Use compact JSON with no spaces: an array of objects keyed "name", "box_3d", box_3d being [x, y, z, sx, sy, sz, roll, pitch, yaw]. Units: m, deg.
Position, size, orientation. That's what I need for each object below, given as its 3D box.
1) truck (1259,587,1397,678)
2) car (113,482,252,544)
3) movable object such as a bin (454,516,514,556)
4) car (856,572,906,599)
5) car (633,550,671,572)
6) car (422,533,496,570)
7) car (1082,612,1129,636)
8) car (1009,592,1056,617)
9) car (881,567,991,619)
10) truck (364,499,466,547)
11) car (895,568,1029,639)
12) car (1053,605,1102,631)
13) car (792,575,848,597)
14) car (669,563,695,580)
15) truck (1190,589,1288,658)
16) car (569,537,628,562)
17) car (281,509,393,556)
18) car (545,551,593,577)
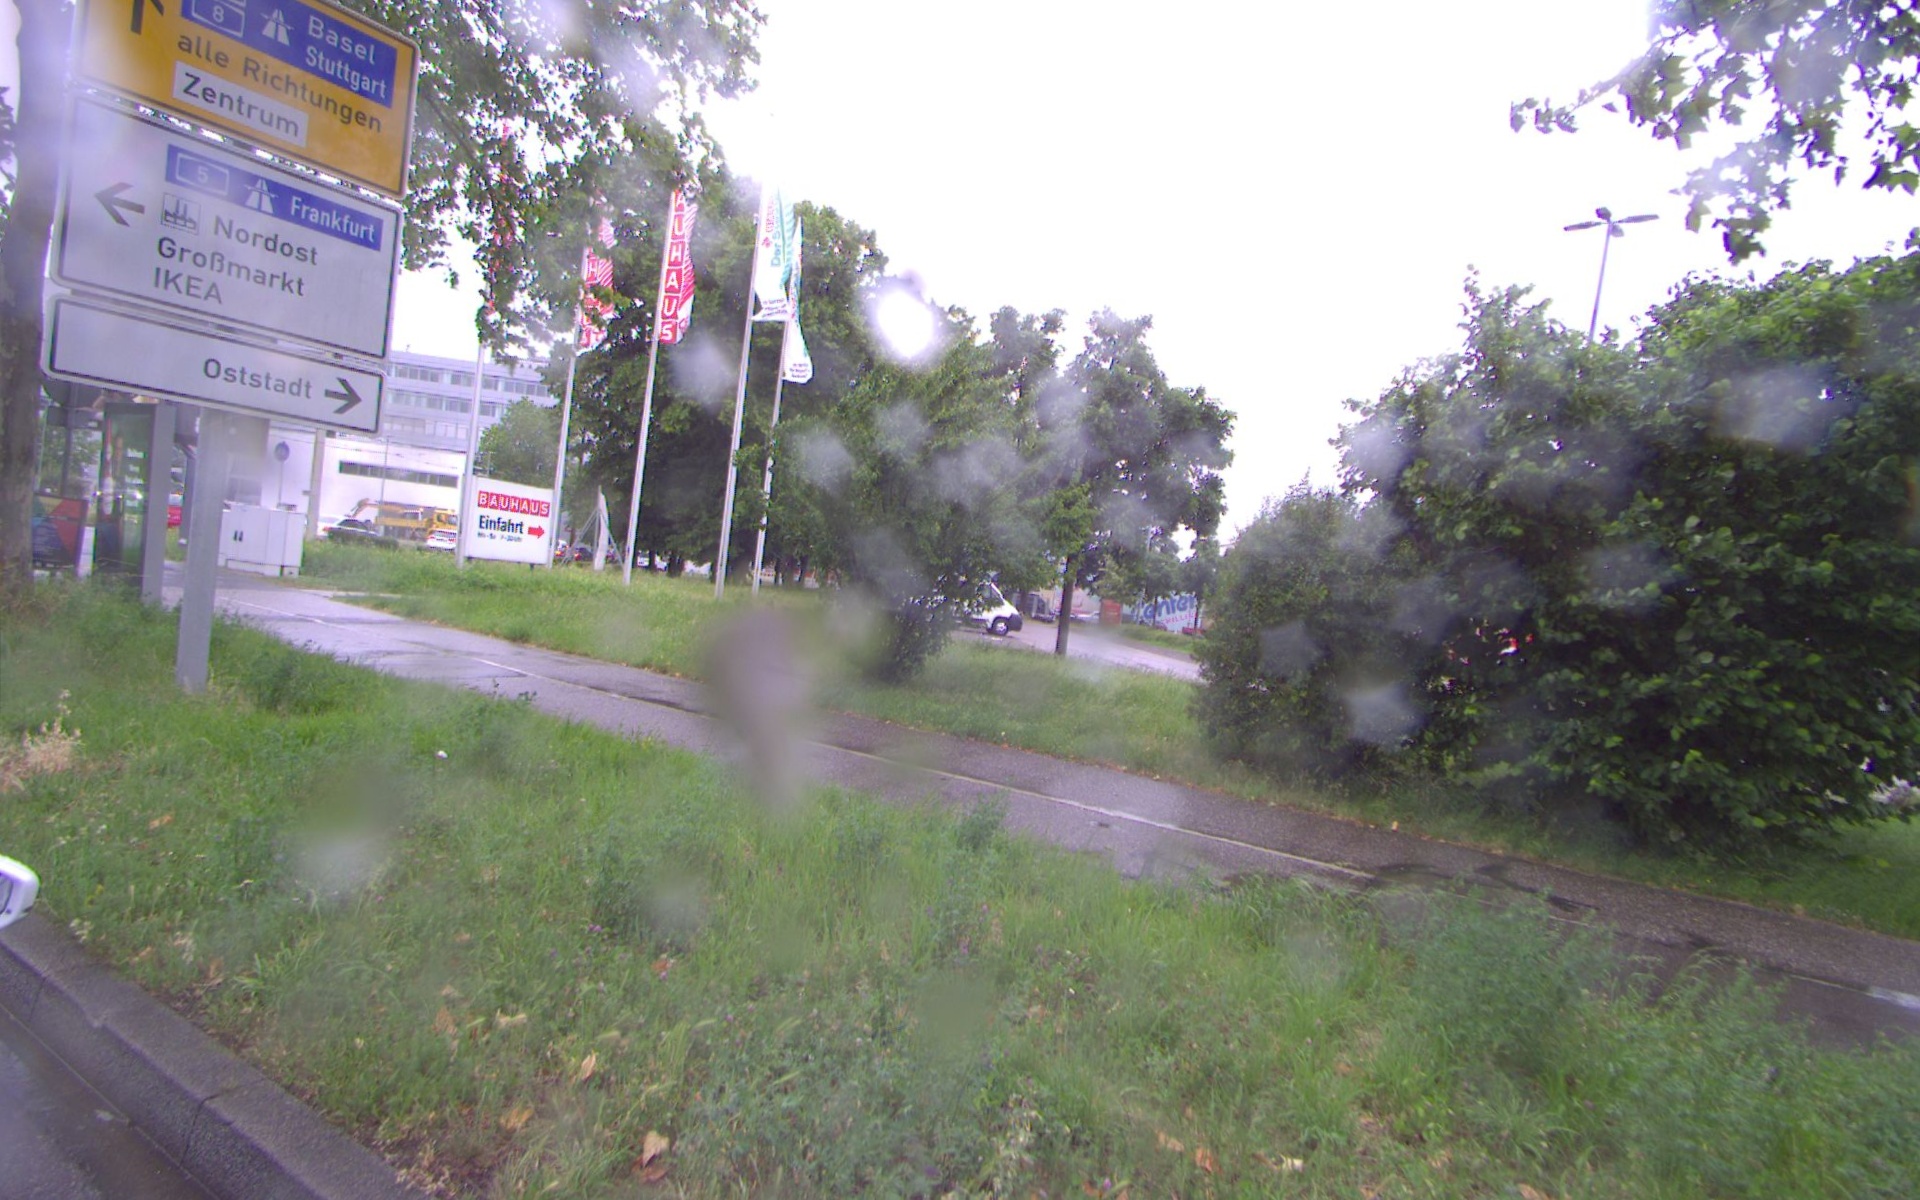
[{"name":"truck","box_3d":[16.703,1.336,46.401,2.508,3.513,8.008,8,0,-4]},{"name":"car","box_3d":[-26.421,-2.918,34.349,1.647,1.508,3.817,7,-1,0]},{"name":"movable object such as a bin","box_3d":[-50.177,-6.705,106.158,3.268,3.552,6.316,6,1,-3]},{"name":"car","box_3d":[-7.853,-1.434,100.593,4.670,2.241,1.964,6,1,-2]},{"name":"car","box_3d":[-28.624,-3.638,93.588,1.891,1.606,4.626,6,0,2]},{"name":"car","box_3d":[-27.717,-2.660,55.846,1.892,1.606,4.623,6,0,-3]},{"name":"car","box_3d":[15.547,2.557,107.449,4.612,2.038,2.001,7,0,3]},{"name":"car","box_3d":[7.460,0.477,103.993,4.613,2.039,1.999,7,1,1]},{"name":"car","box_3d":[-1.391,-0.404,57.643,5.955,2.232,2.190,7,1,-2]},{"name":"truck","box_3d":[-52.672,-7.423,97.340,7.747,3.552,3.325,7,1,-4]},{"name":"car","box_3d":[0.026,0.125,40.917,5.015,2.232,2.188,7,1,-9]},{"name":"car","box_3d":[11.893,1.857,101.798,4.612,2.038,2.001,7,0,3]},{"name":"car","box_3d":[-15.411,-1.571,111.070,5.853,1.753,2.276,6,1,-3]},{"name":"car","box_3d":[-32.583,-3.340,118.118,1.892,1.606,4.623,6,0,-4]},{"name":"truck","box_3d":[16.519,1.335,60.366,2.507,3.511,9.397,8,0,-2]},{"name":"car","box_3d":[-35.026,-4.905,97.547,4.966,1.674,1.882,7,-2,0]},{"name":"car","box_3d":[-27.188,-2.883,44.120,1.892,1.509,4.828,6,0,-2]},{"name":"car","box_3d":[-28.946,-2.636,74.657,1.892,1.606,4.623,6,0,-4]}]
